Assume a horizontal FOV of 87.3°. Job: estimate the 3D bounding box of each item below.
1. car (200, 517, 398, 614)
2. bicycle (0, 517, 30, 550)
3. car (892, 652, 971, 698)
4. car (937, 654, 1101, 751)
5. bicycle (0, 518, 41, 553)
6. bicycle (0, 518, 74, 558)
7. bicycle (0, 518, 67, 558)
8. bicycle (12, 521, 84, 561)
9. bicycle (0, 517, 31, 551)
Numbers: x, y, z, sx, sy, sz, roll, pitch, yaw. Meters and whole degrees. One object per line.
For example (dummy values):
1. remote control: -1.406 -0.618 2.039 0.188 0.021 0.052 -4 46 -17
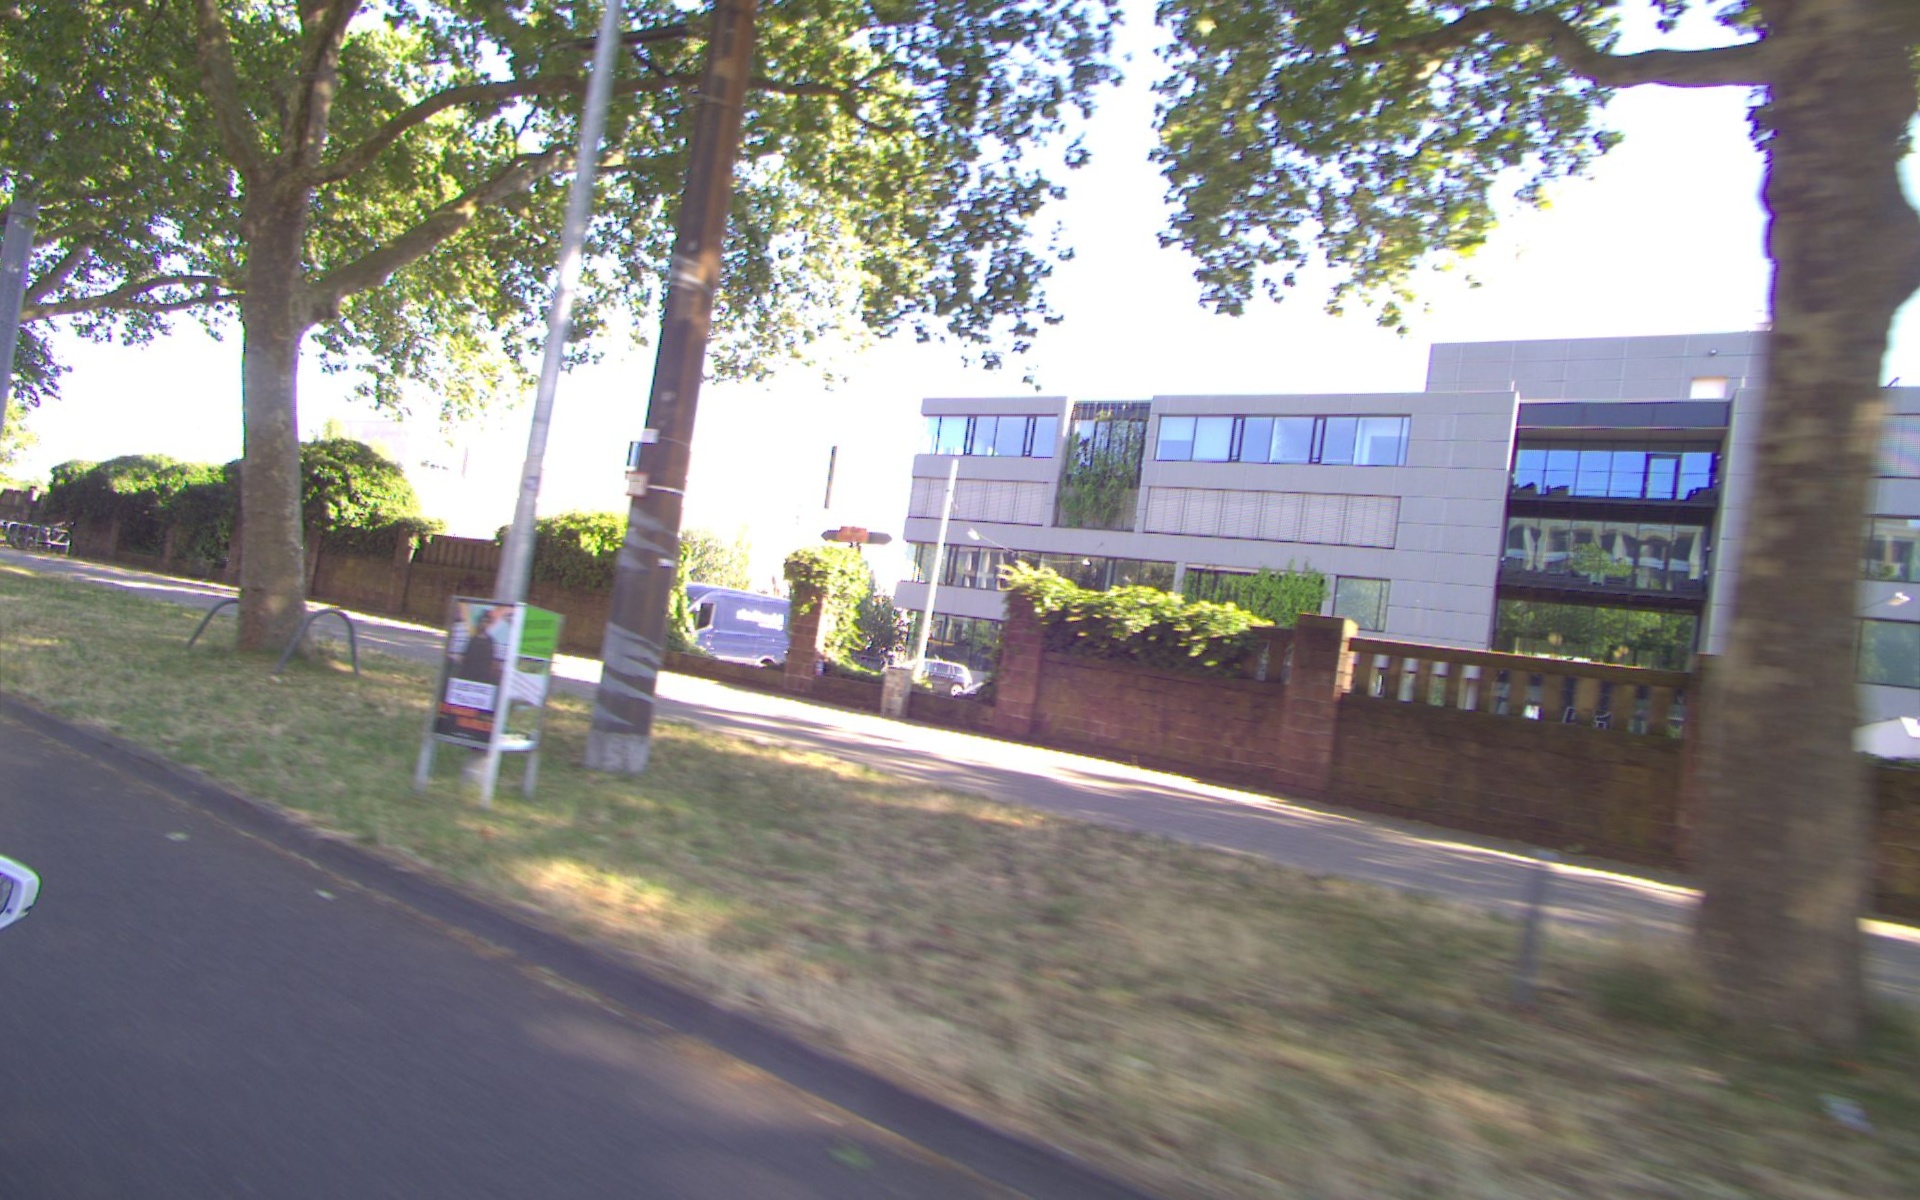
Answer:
1. car: -24.035 -1.186 36.845 1.967 2.515 5.479 7 -4 31
2. bicycle: -36.677 -2.608 38.244 0.432 1.133 1.777 7 -2 31
3. car: -1.399 3.656 49.176 3.601 1.683 1.651 9 -3 -3
4. car: 1.354 2.152 20.968 2.005 1.537 4.122 7 -4 23
5. bicycle: -35.035 -2.422 36.929 0.432 1.133 1.777 7 -2 31
6. bicycle: -32.435 -2.171 35.386 0.432 1.133 1.777 7 -2 31
7. bicycle: -33.184 -2.219 35.952 0.432 1.133 1.777 7 -2 31
8. bicycle: -31.558 -2.031 34.826 0.432 1.133 1.691 7 -2 31
9. bicycle: -35.929 -2.530 37.504 0.432 1.133 1.777 7 -2 31
